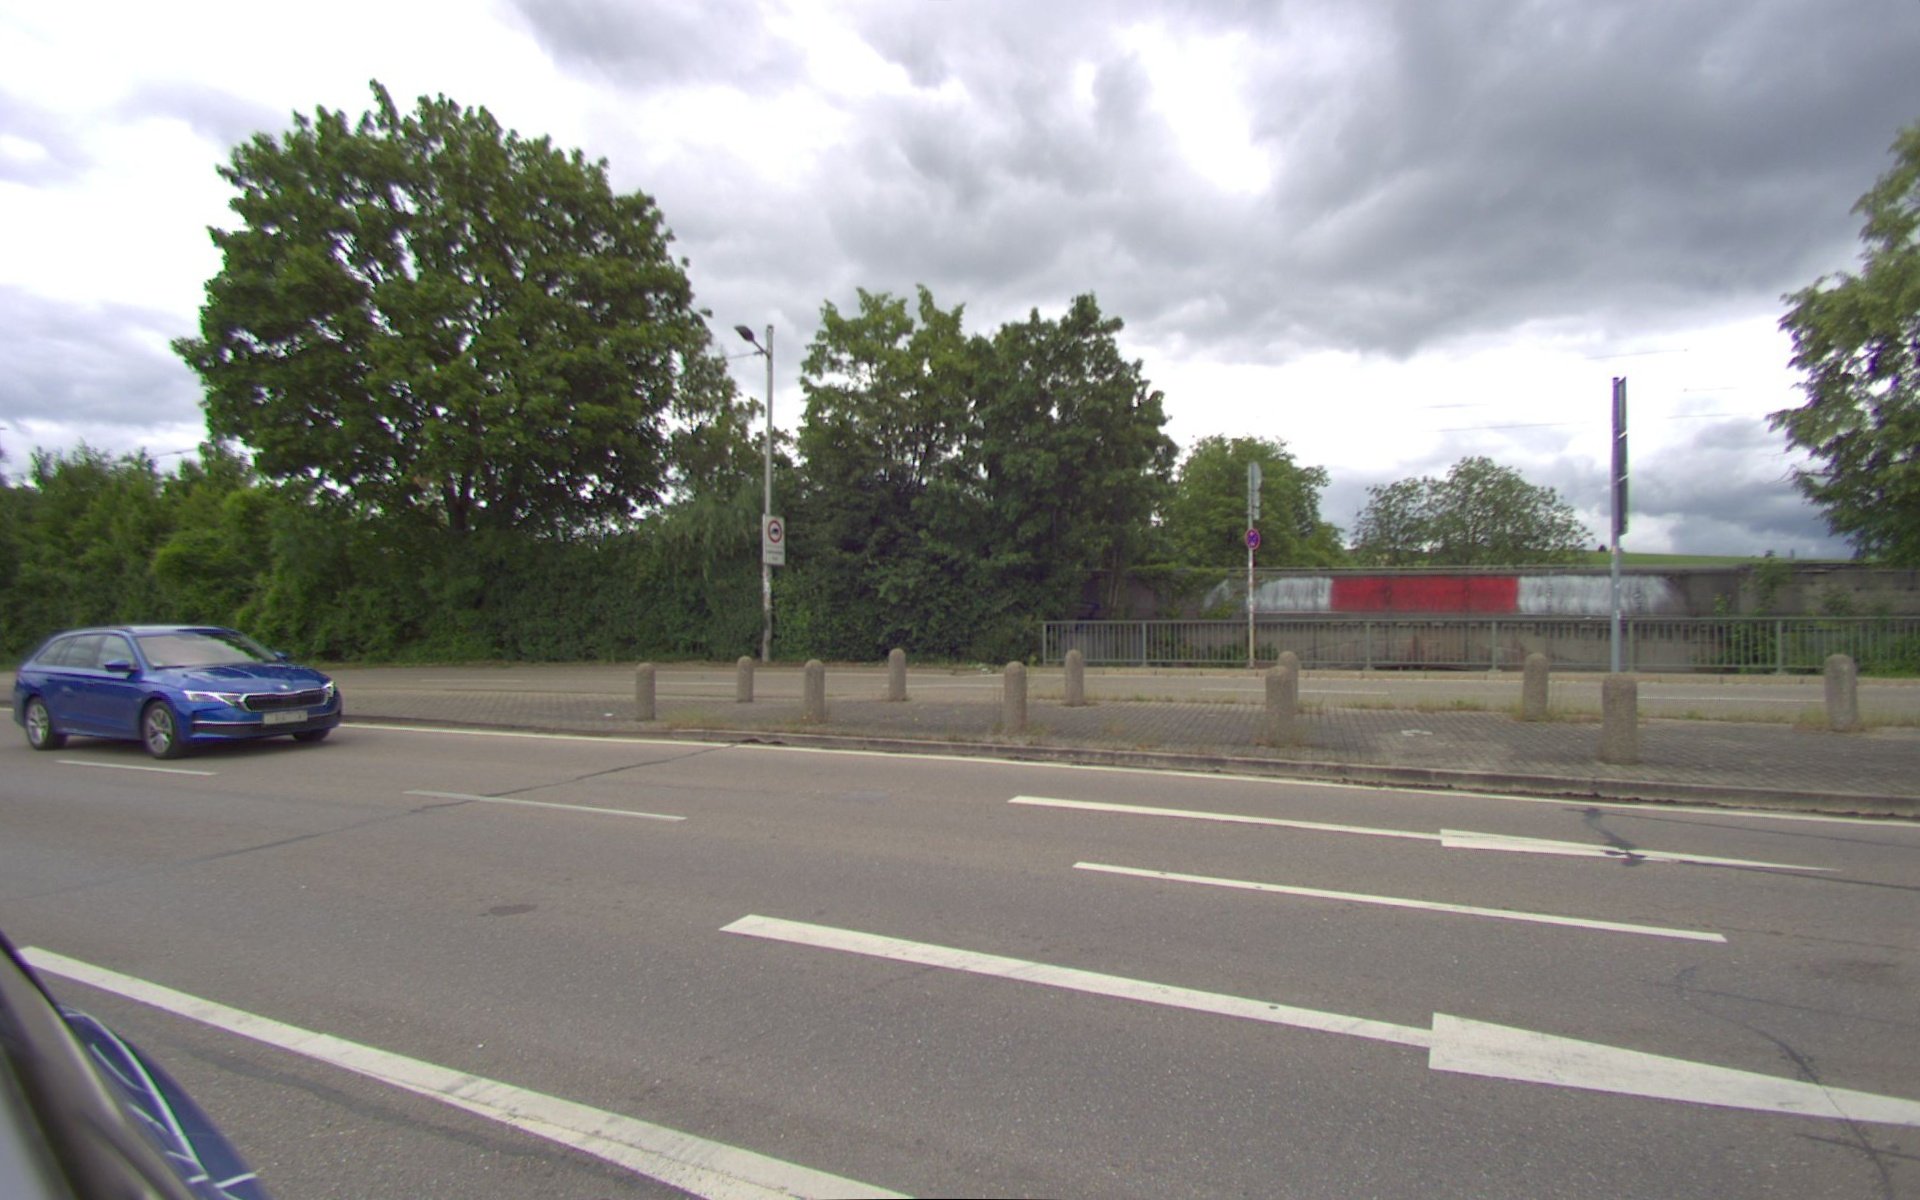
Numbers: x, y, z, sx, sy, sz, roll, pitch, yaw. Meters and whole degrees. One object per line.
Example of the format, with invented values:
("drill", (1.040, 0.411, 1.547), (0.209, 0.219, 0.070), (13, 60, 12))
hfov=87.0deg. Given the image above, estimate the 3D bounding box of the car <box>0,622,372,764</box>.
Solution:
("car", (-9.430, 1.031, 12.192), (4.554, 1.427, 1.828), (-2, -1, 26))
